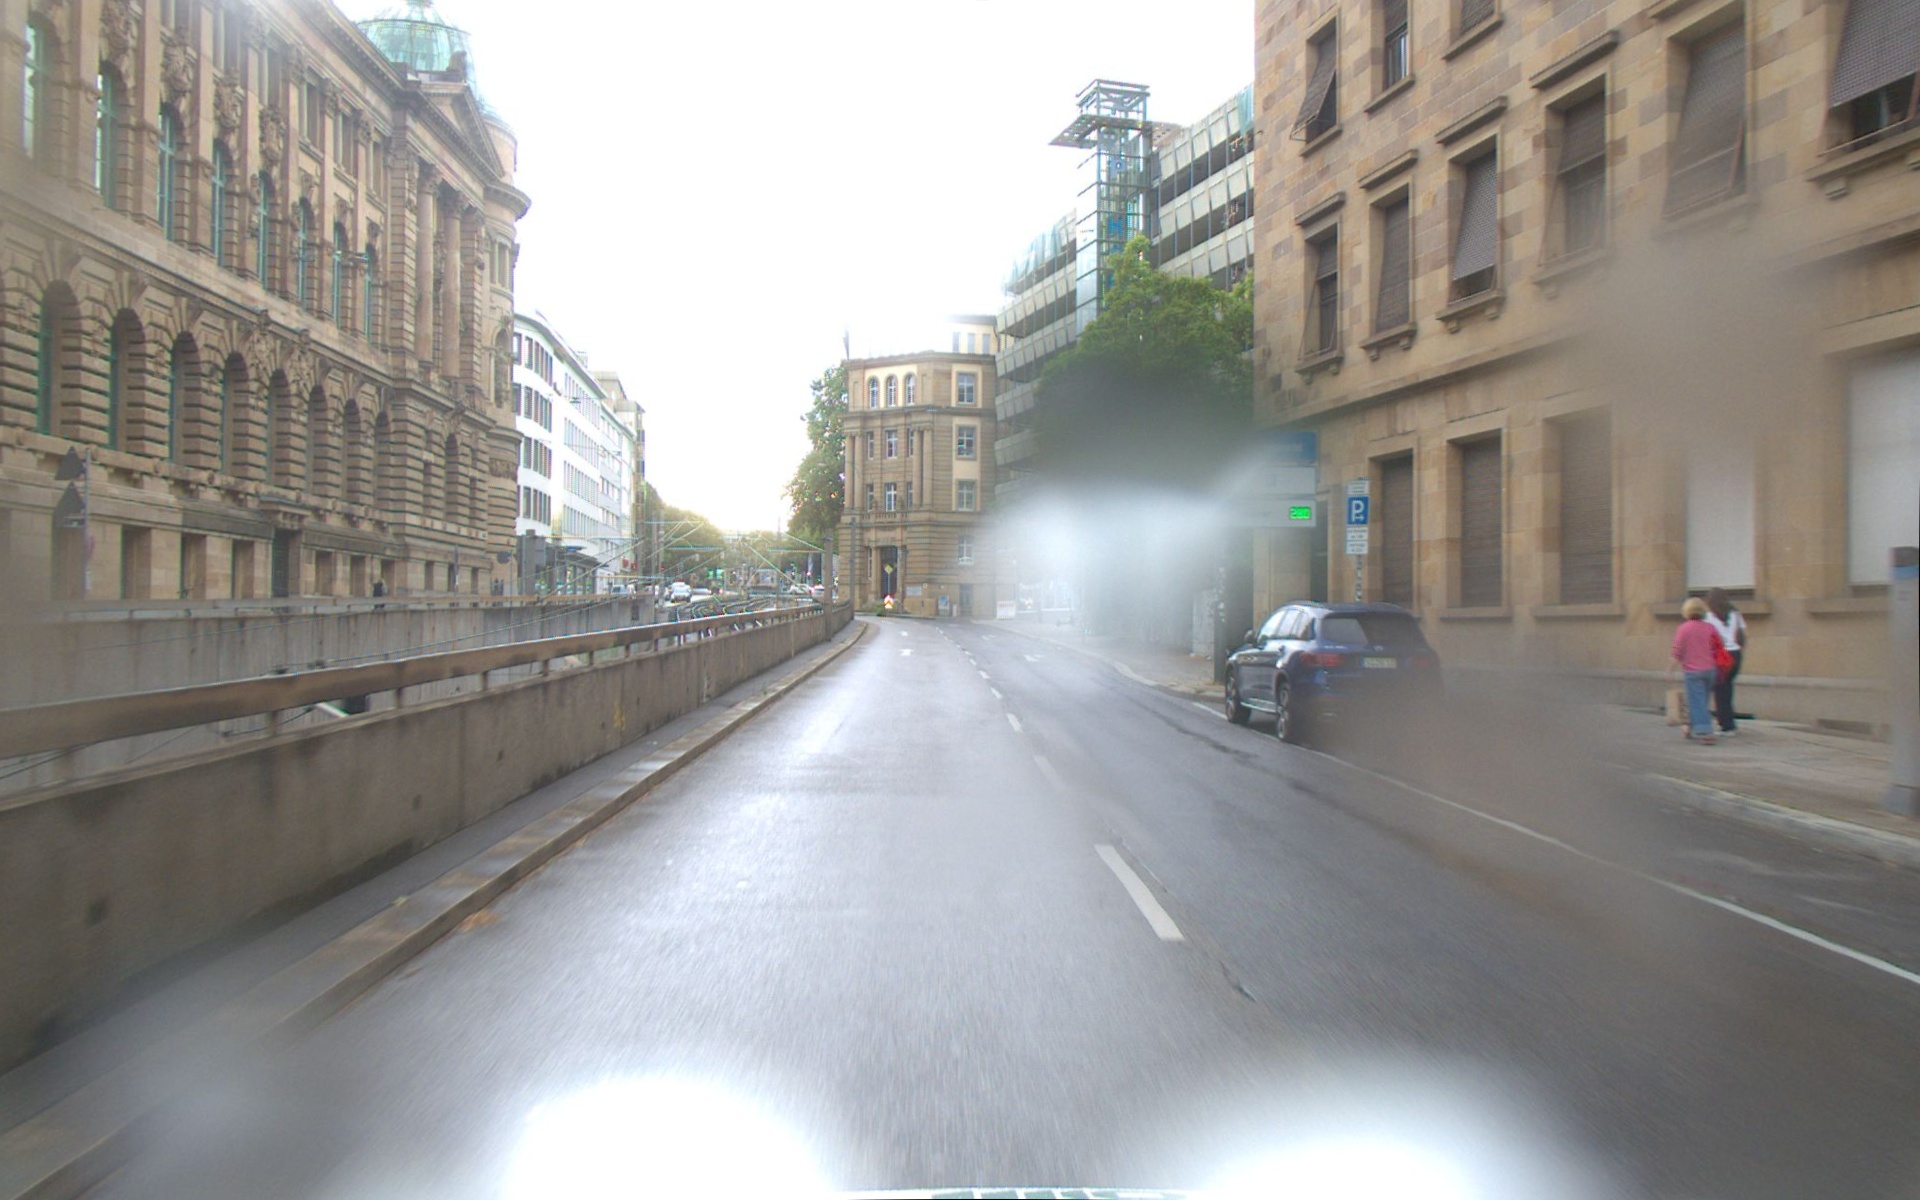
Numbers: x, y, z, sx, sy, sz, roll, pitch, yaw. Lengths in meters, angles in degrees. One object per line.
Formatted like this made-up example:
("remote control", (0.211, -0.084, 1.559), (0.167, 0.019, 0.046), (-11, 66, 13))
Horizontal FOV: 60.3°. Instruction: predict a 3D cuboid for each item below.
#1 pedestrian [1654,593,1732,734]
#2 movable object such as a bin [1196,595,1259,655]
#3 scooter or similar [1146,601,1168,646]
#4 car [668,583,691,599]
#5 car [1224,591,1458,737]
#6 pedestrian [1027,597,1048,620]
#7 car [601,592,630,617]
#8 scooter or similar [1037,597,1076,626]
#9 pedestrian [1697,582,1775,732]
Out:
("pedestrian", (8.089, 0.689, 18.264), (0.514, 1.518, 0.673), (0, 0, -7))
("movable object such as a bin", (6.211, 0.568, 38.480), (1.214, 1.333, 1.233), (-2, 0, -1))
("scooter or similar", (5.881, 0.697, 49.354), (0.438, 1.281, 1.211), (-1, 1, -2))
("car", (-26.880, -0.868, 158.710), (1.956, 1.554, 3.657), (1, 0, -7))
("car", (4.653, 0.737, 20.824), (1.733, 1.647, 4.154), (1, 0, -4))
("pedestrian", (4.018, 0.434, 85.653), (0.740, 1.142, 1.242), (1, 0, -16))
("car", (-28.610, 0.357, 137.494), (1.956, 1.916, 4.919), (1, 0, -7))
("scooter or similar", (4.377, 0.512, 75.303), (1.616, 1.290, 0.736), (-1, 1, -27))
("pedestrian", (8.628, 0.621, 18.408), (0.514, 1.631, 0.673), (0, 0, -7))
